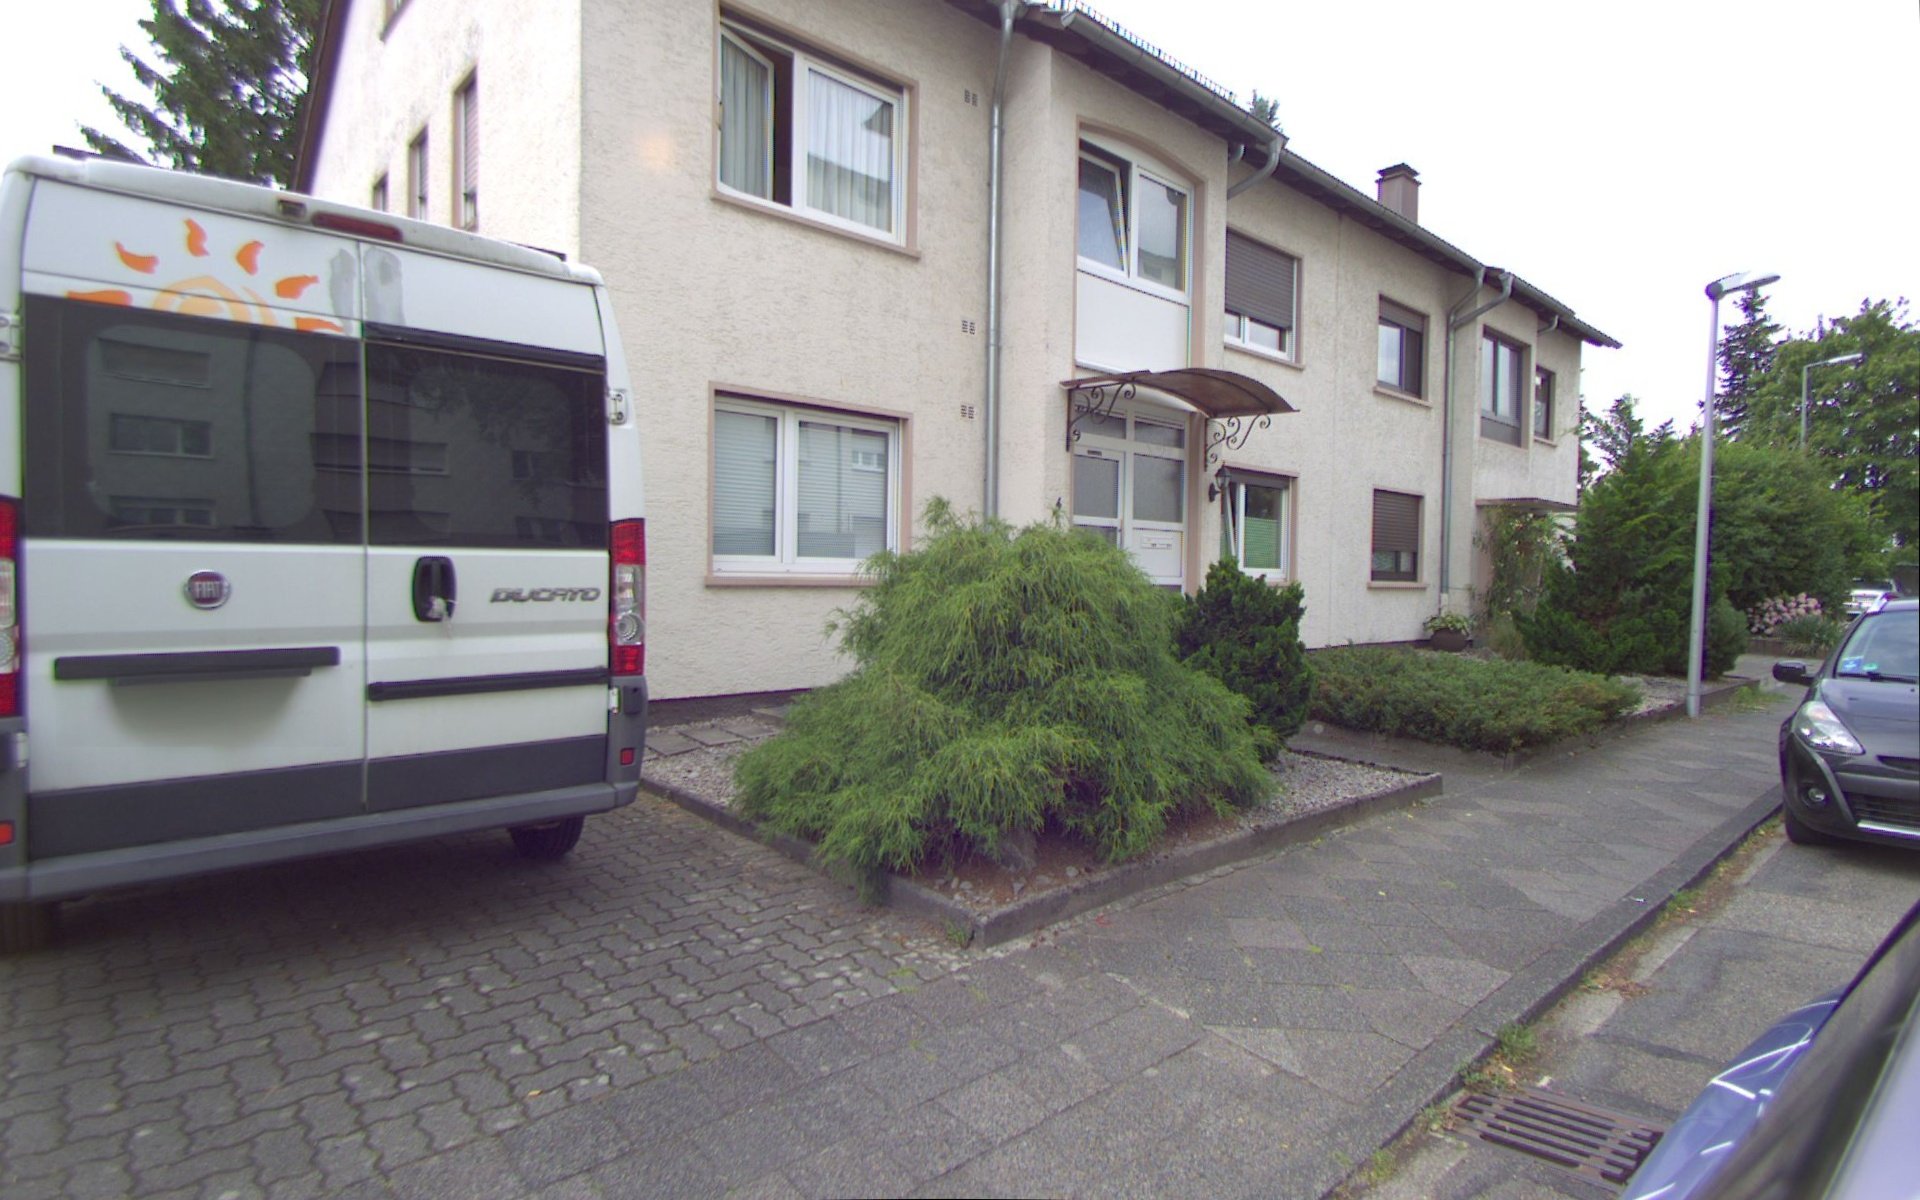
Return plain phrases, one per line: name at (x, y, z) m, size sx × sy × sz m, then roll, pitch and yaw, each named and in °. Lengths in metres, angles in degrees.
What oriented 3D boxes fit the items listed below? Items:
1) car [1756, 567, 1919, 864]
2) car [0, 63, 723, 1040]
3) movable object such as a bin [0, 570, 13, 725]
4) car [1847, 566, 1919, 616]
car at (6.422, 0.557, 6.277) m, size 4.122 × 1.476 × 1.831 m, roll -1°, pitch 1°, yaw -44°
car at (-3.462, -0.257, 5.250) m, size 2.199 × 2.573 × 5.098 m, roll 0°, pitch 3°, yaw -41°
movable object such as a bin at (-7.055, 0.334, 7.140) m, size 0.537 × 1.069 × 0.456 m, roll -1°, pitch 4°, yaw -43°
car at (30.407, -0.349, 33.197) m, size 3.936 × 1.484 × 1.702 m, roll -3°, pitch 4°, yaw -45°
